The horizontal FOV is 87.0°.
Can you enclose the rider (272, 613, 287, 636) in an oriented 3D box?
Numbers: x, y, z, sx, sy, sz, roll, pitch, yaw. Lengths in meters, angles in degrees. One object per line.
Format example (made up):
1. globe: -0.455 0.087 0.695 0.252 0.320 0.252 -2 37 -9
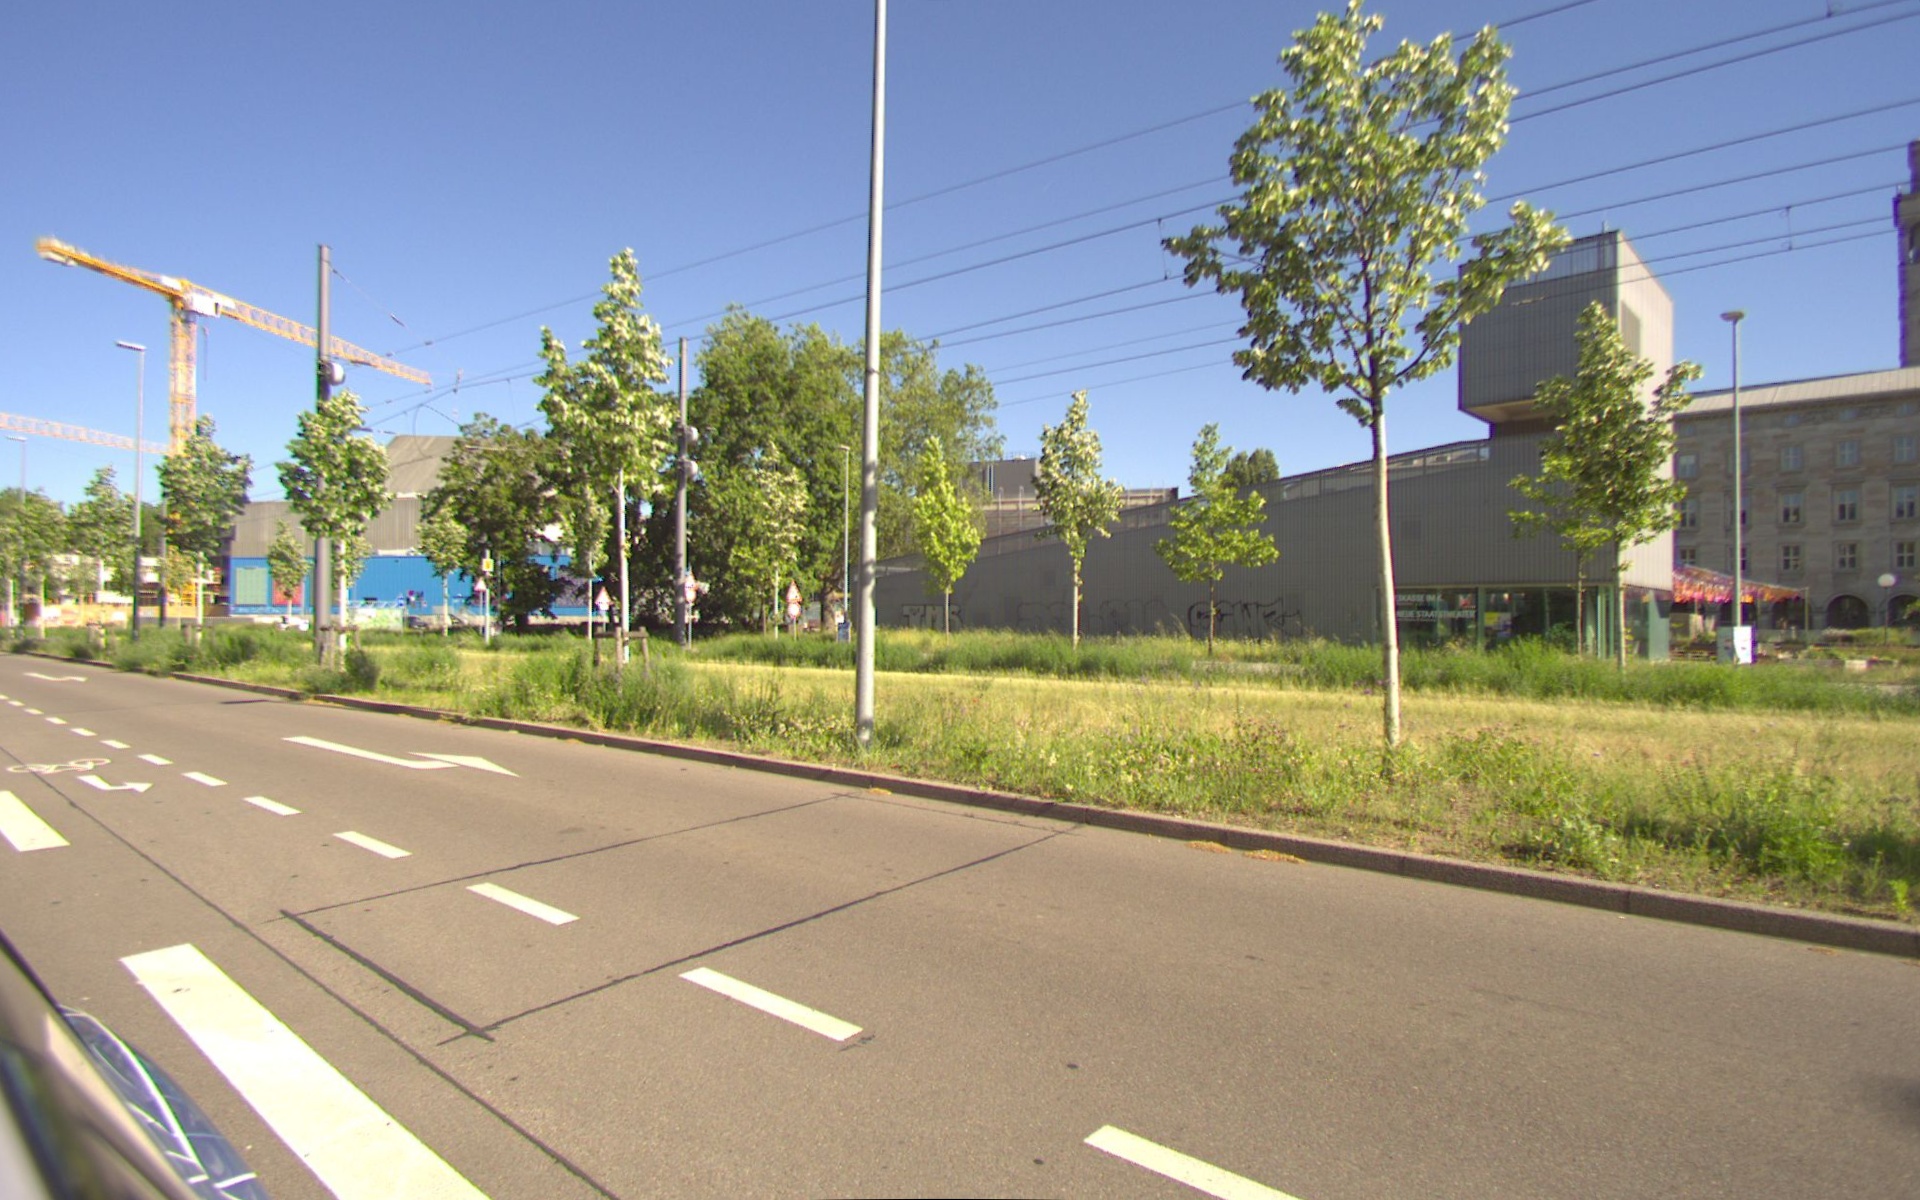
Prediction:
1. rider: -45.959 1.643 68.355 0.631 1.534 0.715 -1 -1 38
